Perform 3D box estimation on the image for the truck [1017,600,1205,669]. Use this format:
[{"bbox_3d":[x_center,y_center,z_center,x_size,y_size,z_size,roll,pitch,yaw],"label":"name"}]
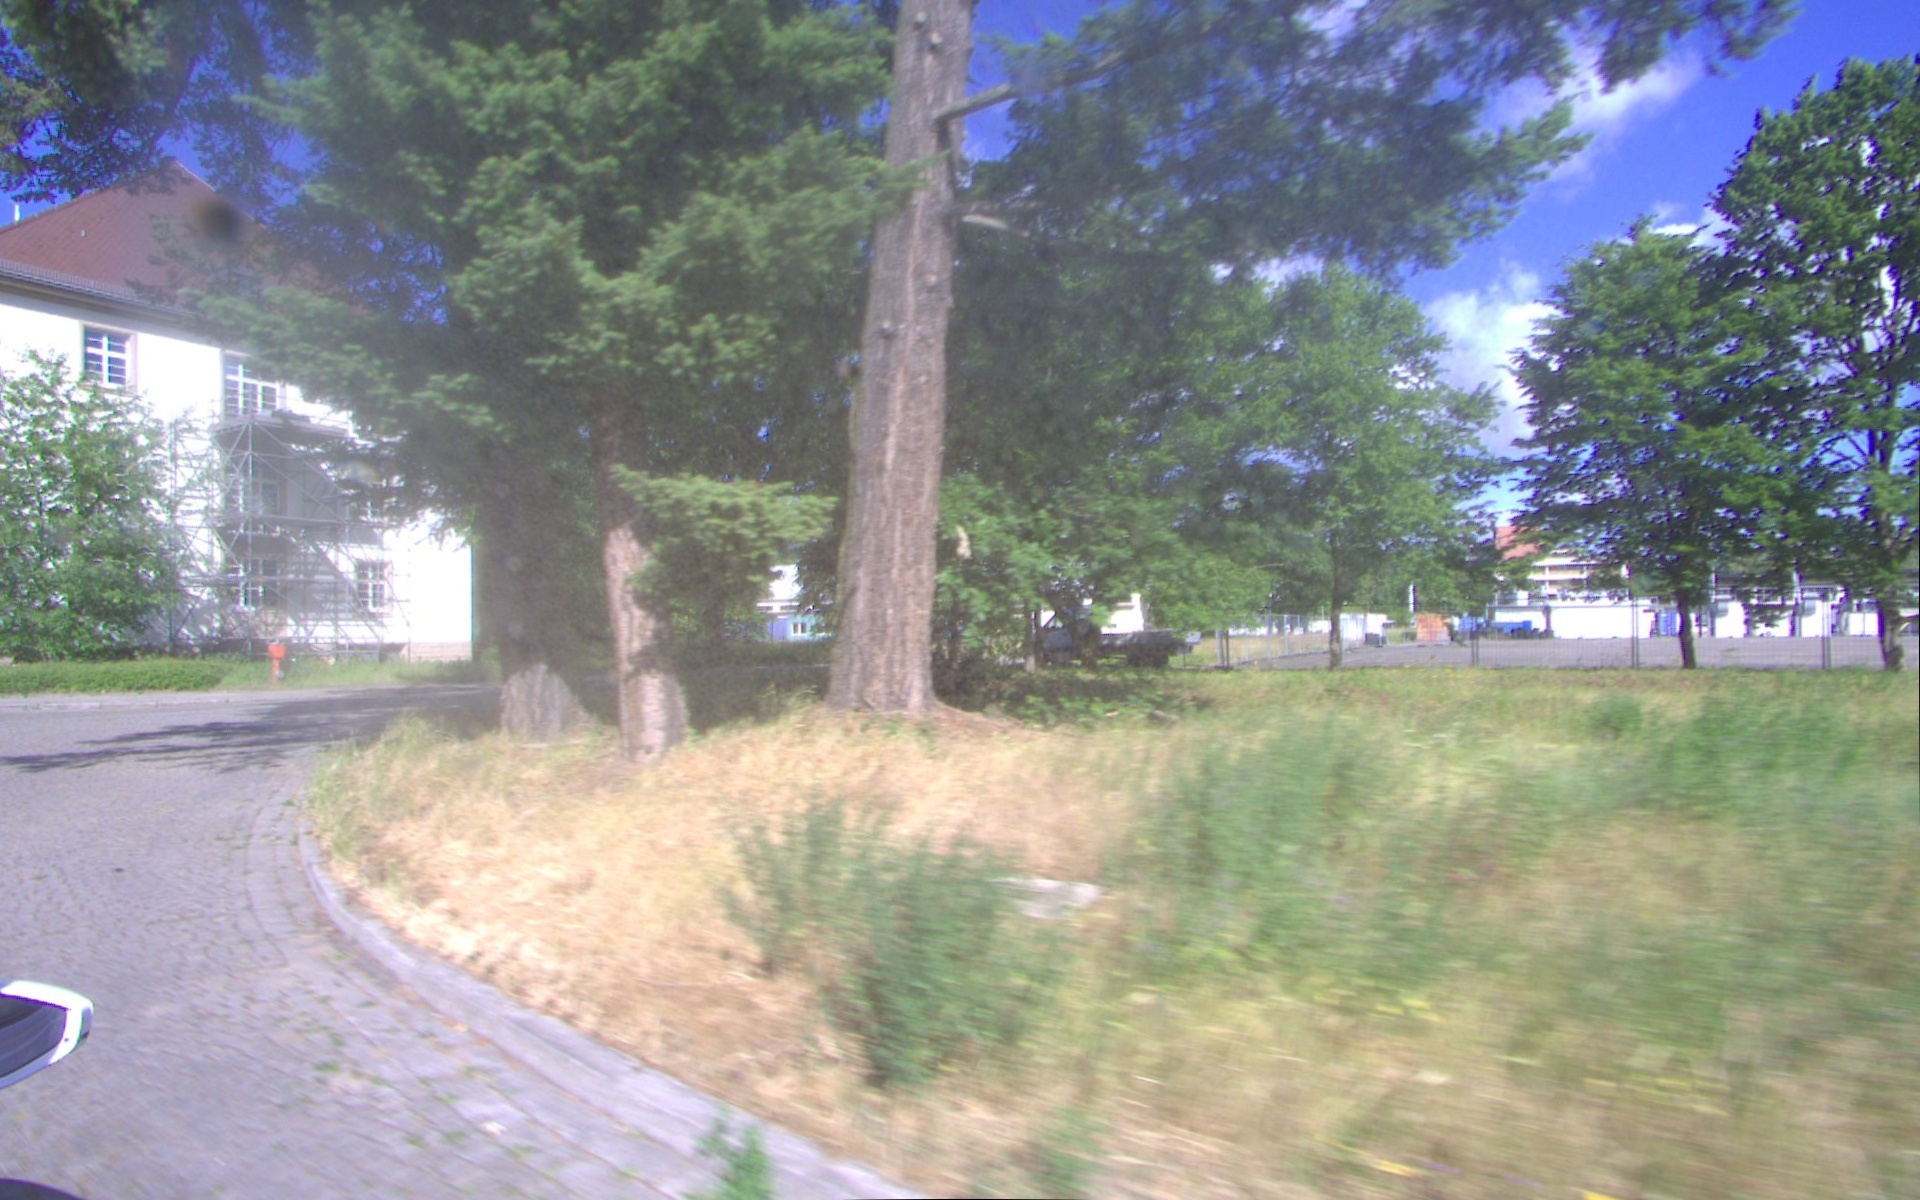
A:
[{"bbox_3d":[5.718,1.352,38.372,6.785,2.454,2.231,-1,-3,31],"label":"truck"}]
